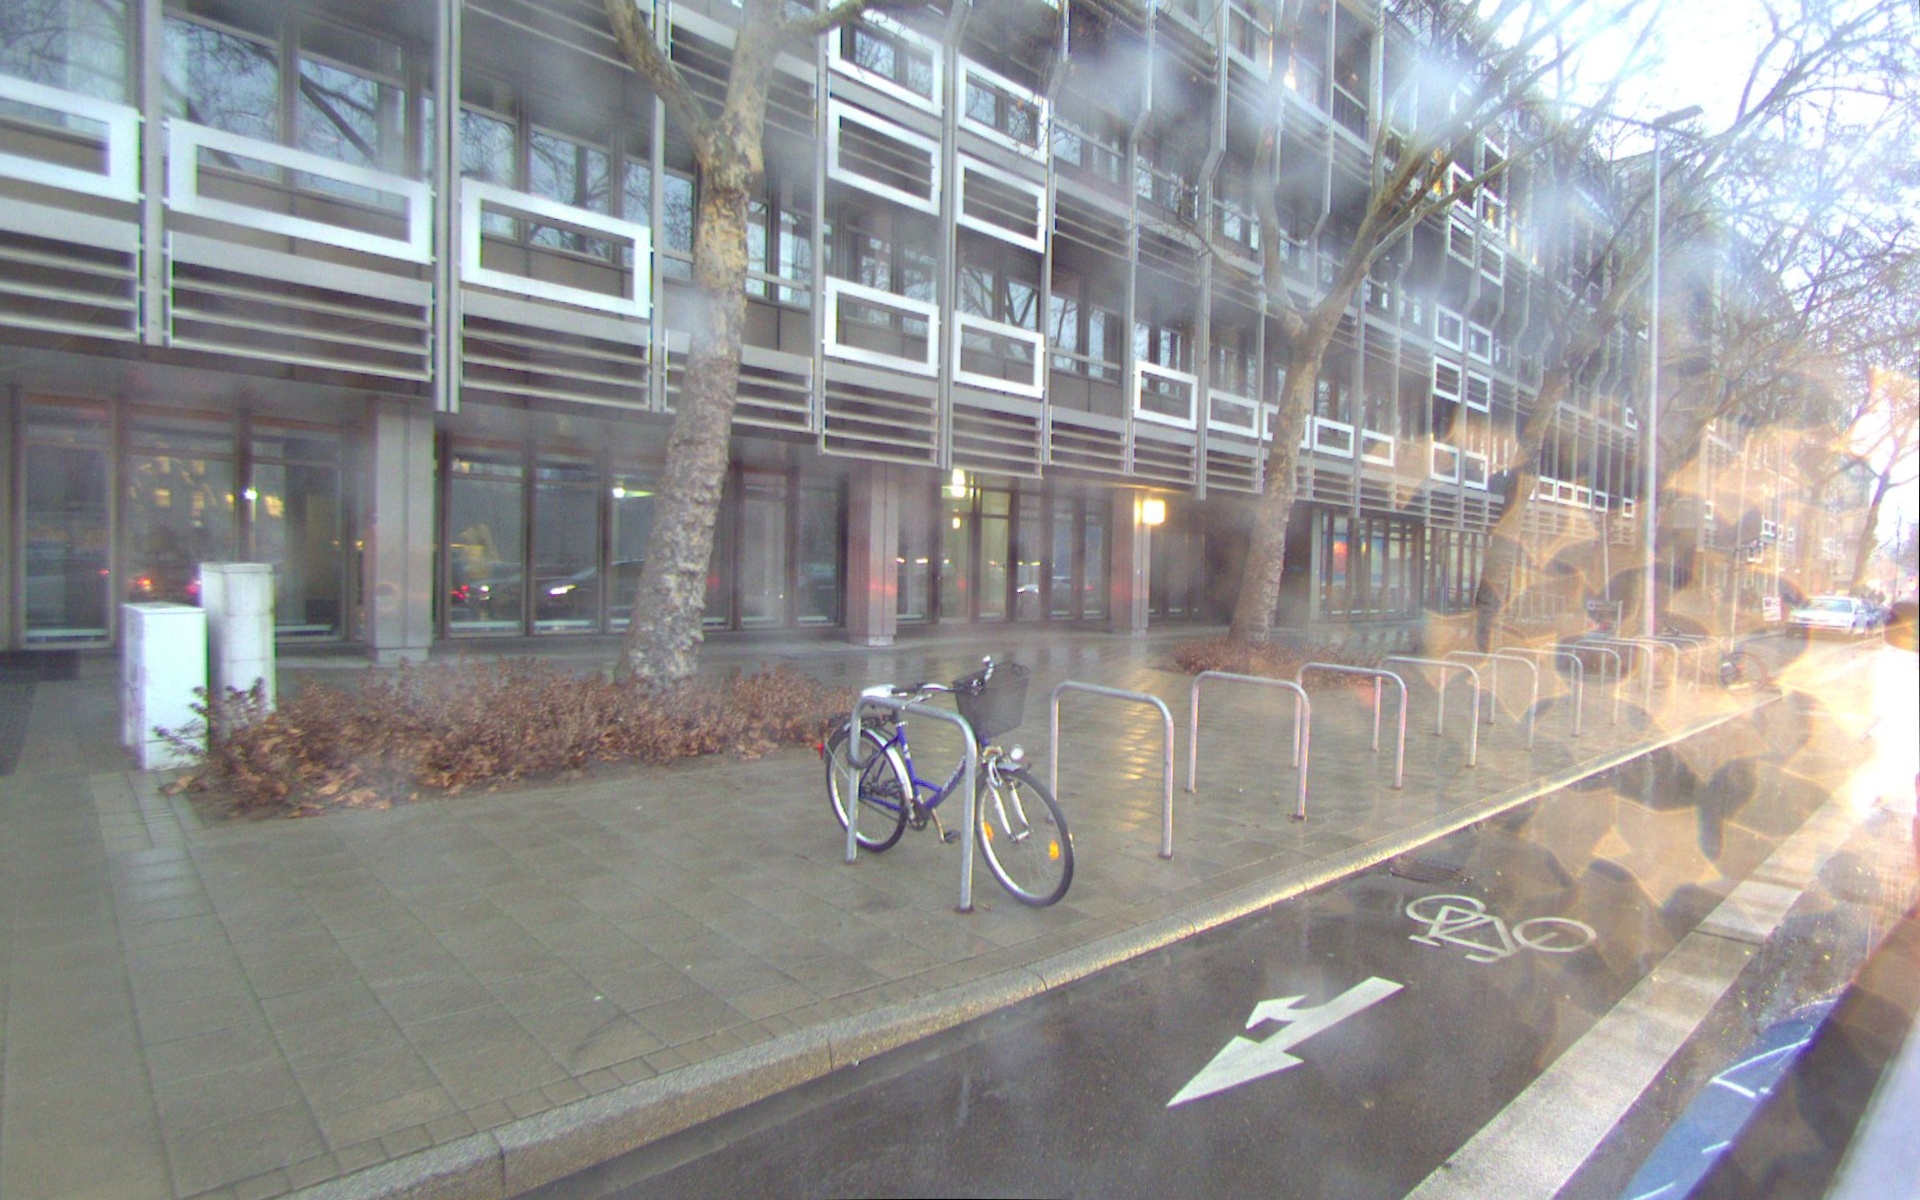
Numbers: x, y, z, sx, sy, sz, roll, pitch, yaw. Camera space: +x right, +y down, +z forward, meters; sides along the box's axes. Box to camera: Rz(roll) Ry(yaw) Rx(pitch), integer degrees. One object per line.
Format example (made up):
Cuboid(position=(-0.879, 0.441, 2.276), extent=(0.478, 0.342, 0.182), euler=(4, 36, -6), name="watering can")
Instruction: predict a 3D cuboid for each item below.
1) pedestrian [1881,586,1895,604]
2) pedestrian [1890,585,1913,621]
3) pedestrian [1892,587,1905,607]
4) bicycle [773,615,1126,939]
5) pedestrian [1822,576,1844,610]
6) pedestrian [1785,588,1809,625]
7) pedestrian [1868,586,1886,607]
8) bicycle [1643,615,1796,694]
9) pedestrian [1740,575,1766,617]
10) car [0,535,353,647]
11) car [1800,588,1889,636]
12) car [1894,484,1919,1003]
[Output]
Cuboid(position=(70.920, -0.390, 77.366), extent=(0.777, 1.354, 0.718), euler=(0, 0, -41), name="pedestrian")
Cuboid(position=(47.123, 0.144, 50.665), extent=(0.765, 1.771, 0.913), euler=(2, 2, 45), name="pedestrian")
Cuboid(position=(81.851, -0.276, 88.230), extent=(0.765, 1.771, 0.913), euler=(2, 2, 45), name="pedestrian")
Cuboid(position=(-0.136, 0.716, 4.872), extent=(0.629, 1.145, 1.810), euler=(2, 2, -41), name="bicycle")
Cuboid(position=(45.544, -0.384, 52.811), extent=(0.765, 1.771, 0.913), euler=(2, 2, 45), name="pedestrian")
Cuboid(position=(41.188, 0.286, 49.792), extent=(0.765, 1.771, 0.913), euler=(2, 2, 45), name="pedestrian")
Cuboid(position=(59.513, -0.218, 65.678), extent=(0.738, 1.354, 0.781), euler=(0, 0, -41), name="pedestrian")
Cuboid(position=(11.677, 0.811, 15.593), extent=(0.864, 1.004, 1.704), euler=(0, 4, -41), name="bicycle")
Cuboid(position=(42.322, -0.203, 54.013), extent=(1.056, 2.222, 1.096), euler=(0, 0, 38), name="pedestrian")
Cuboid(position=(-10.766, -0.159, 13.897), extent=(3.929, 1.326, 1.998), euler=(0, 3, -40), name="car")
Cuboid(position=(29.515, 0.347, 33.747), extent=(3.930, 1.482, 1.711), euler=(-1, 1, -41), name="car")
Cuboid(position=(5.457, 0.499, 4.360), extent=(3.934, 1.864, 1.875), euler=(-1, 0, -44), name="car")
